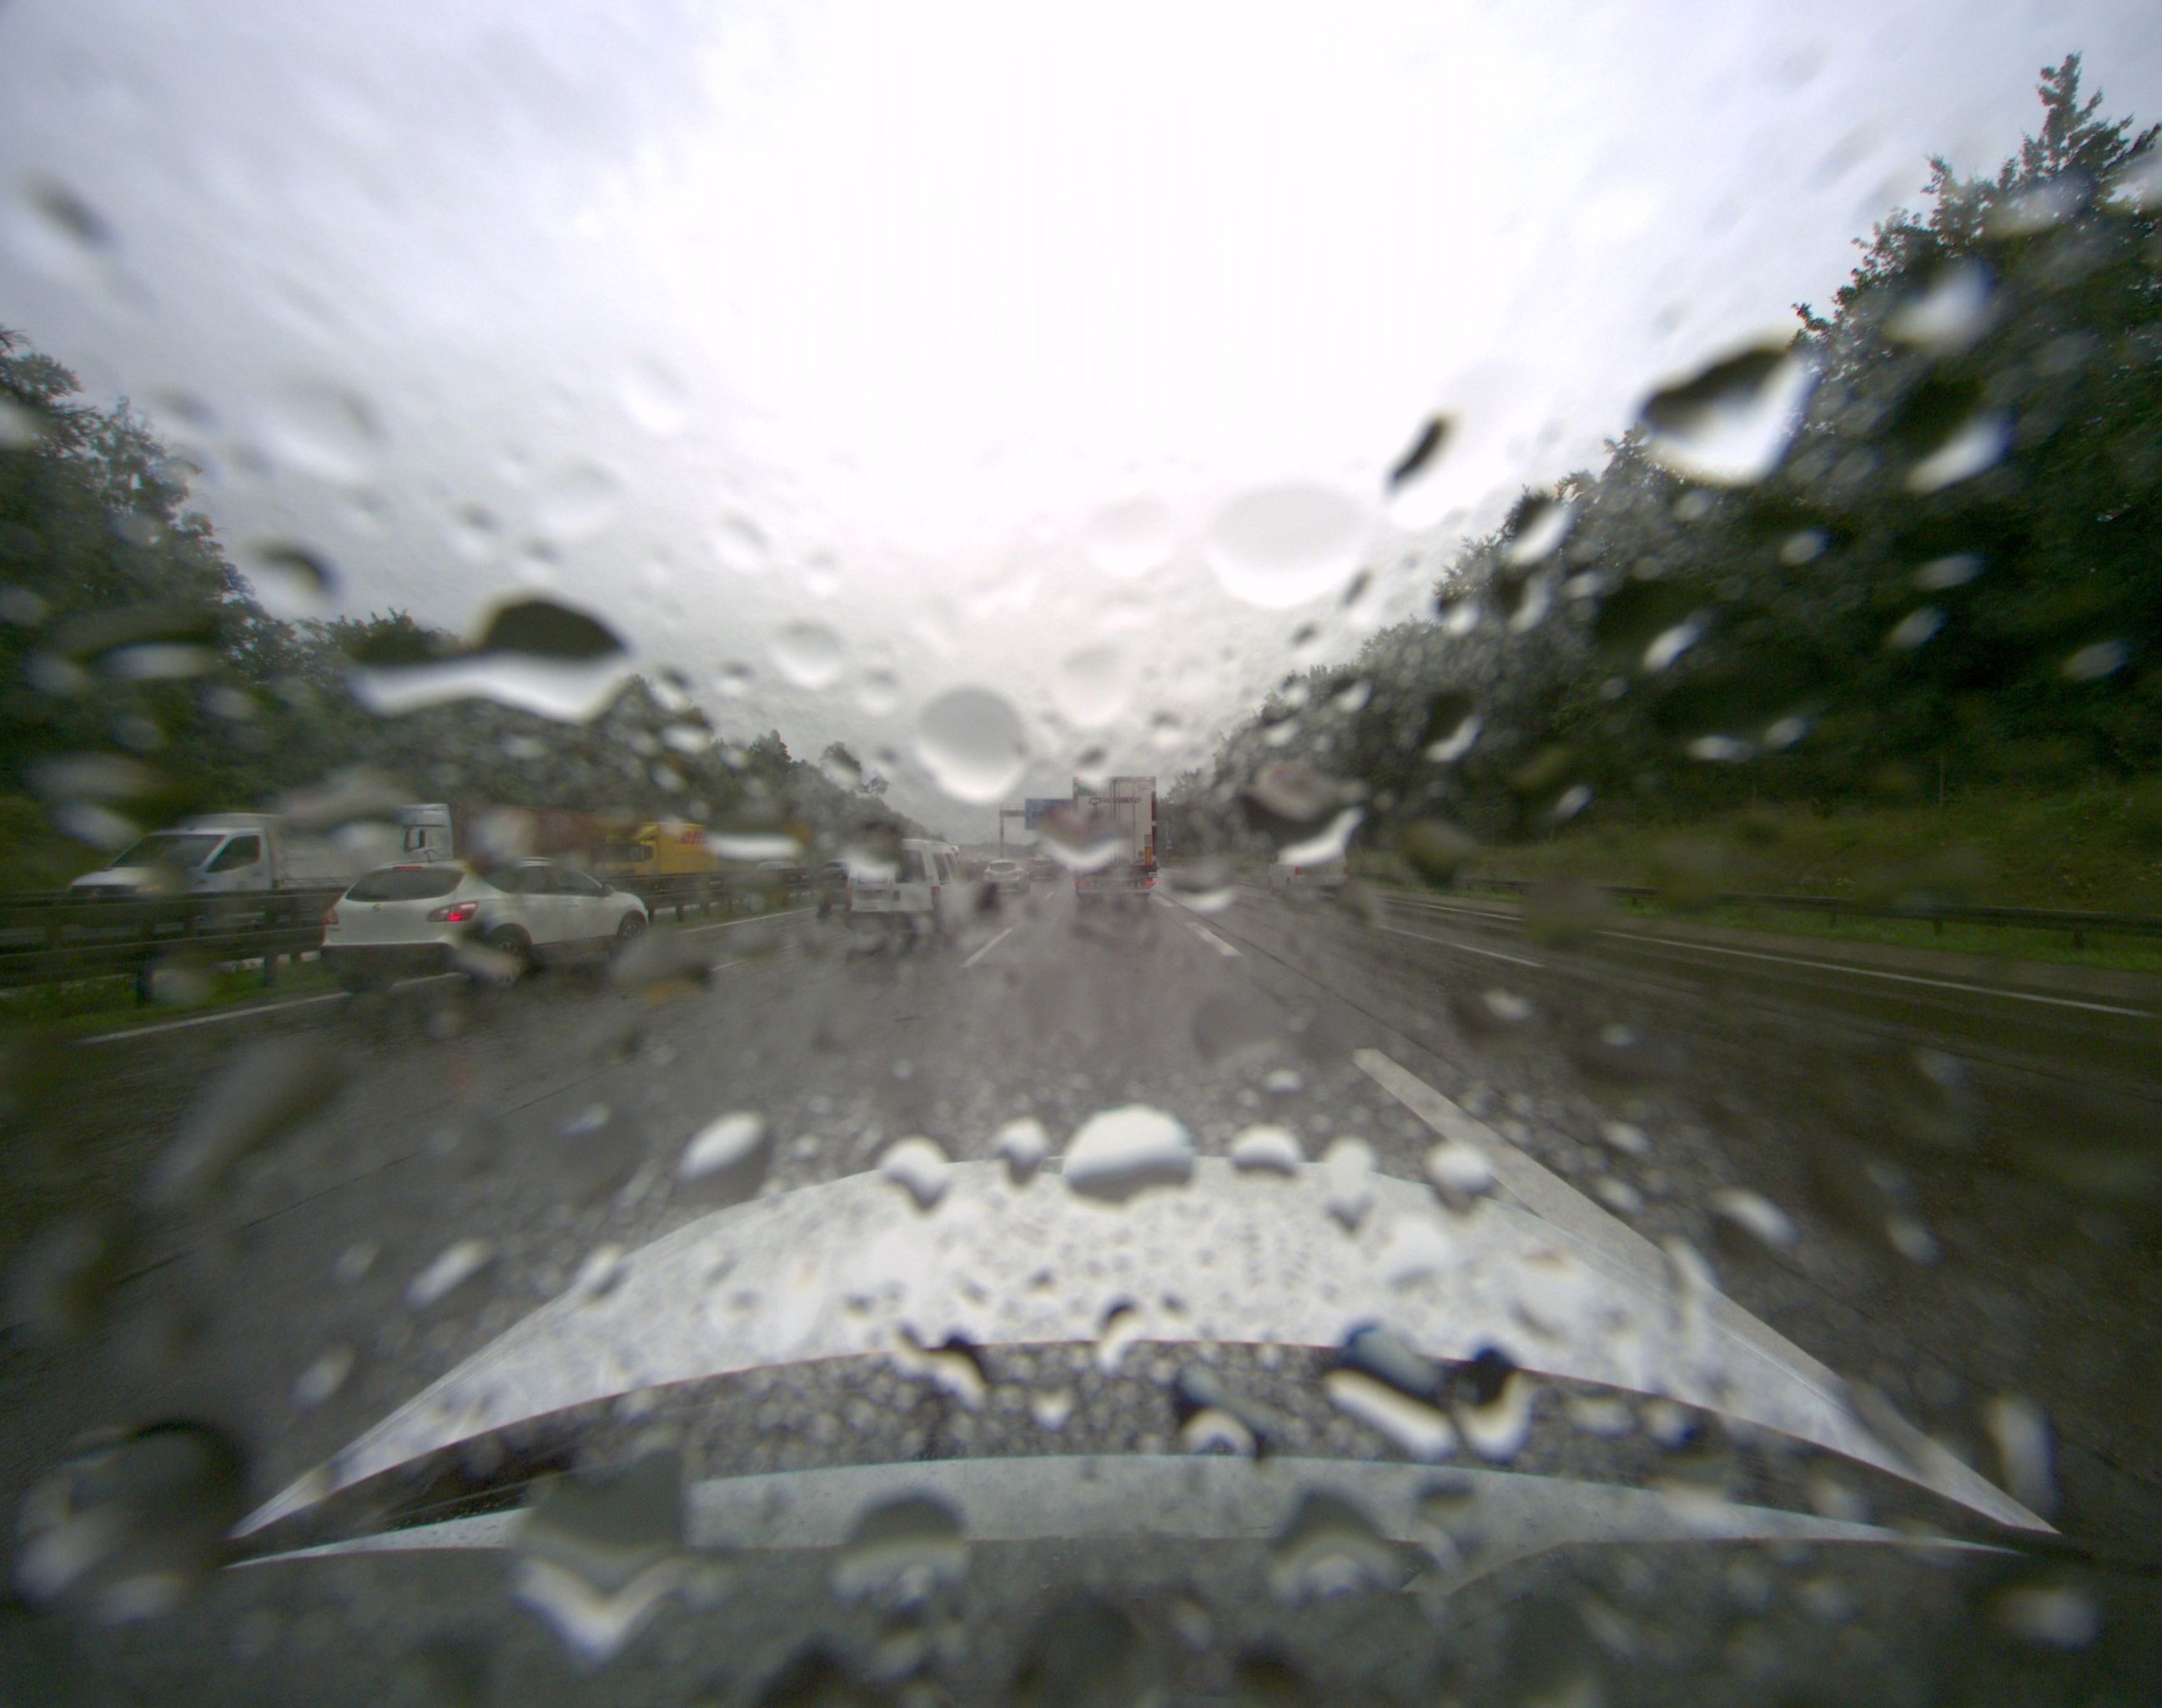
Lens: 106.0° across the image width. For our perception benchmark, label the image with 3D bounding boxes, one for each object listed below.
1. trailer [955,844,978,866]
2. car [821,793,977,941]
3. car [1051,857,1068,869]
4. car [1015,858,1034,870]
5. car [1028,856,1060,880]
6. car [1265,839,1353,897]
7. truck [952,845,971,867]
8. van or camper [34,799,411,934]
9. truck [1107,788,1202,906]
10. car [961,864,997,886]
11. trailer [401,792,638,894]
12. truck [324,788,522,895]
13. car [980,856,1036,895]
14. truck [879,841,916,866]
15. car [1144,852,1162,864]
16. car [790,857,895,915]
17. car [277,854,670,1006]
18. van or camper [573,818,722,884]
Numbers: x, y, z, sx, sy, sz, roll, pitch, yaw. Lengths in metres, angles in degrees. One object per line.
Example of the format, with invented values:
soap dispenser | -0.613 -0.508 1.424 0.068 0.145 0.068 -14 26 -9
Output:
trailer | -22.140 0.261 158.167 2.533 4.025 13.845 0 0 -1
car | -3.526 0.211 16.855 2.207 2.573 5.012 -1 0 -2
car | -2.584 1.077 97.379 1.839 1.330 4.467 -1 0 1
car | -6.580 1.113 95.327 1.839 1.330 4.467 -1 0 1
car | -2.546 0.963 57.224 1.838 1.591 4.470 -1 0 3
car | 8.048 0.449 29.202 1.982 1.921 4.769 -1 0 2
truck | -22.133 0.382 151.167 2.532 4.025 6.323 0 0 0
van or camper | -19.197 0.224 18.881 2.191 2.547 6.118 -2 0 0
truck | 2.608 -0.181 30.537 2.860 3.562 11.312 -1 0 4
car | -7.034 1.437 56.342 1.839 1.330 4.467 -1 0 1
trailer | -25.805 -0.421 38.736 2.610 4.025 12.373 0 0 0
truck | -25.883 -0.471 32.503 2.695 3.818 6.264 -1 0 1
car | -3.192 0.902 36.311 1.837 1.591 4.077 -1 0 4
truck | -25.949 -0.059 115.777 2.511 3.483 11.719 -1 0 1
car | 8.745 0.506 99.000 1.785 1.407 4.226 -1 0 -1
car | -7.335 0.936 25.559 1.838 1.591 4.468 -1 0 2
car | -7.633 0.809 10.958 1.839 1.591 4.468 -1 0 1
van or camper | -21.923 -0.131 41.945 2.832 2.978 8.788 -1 0 1
